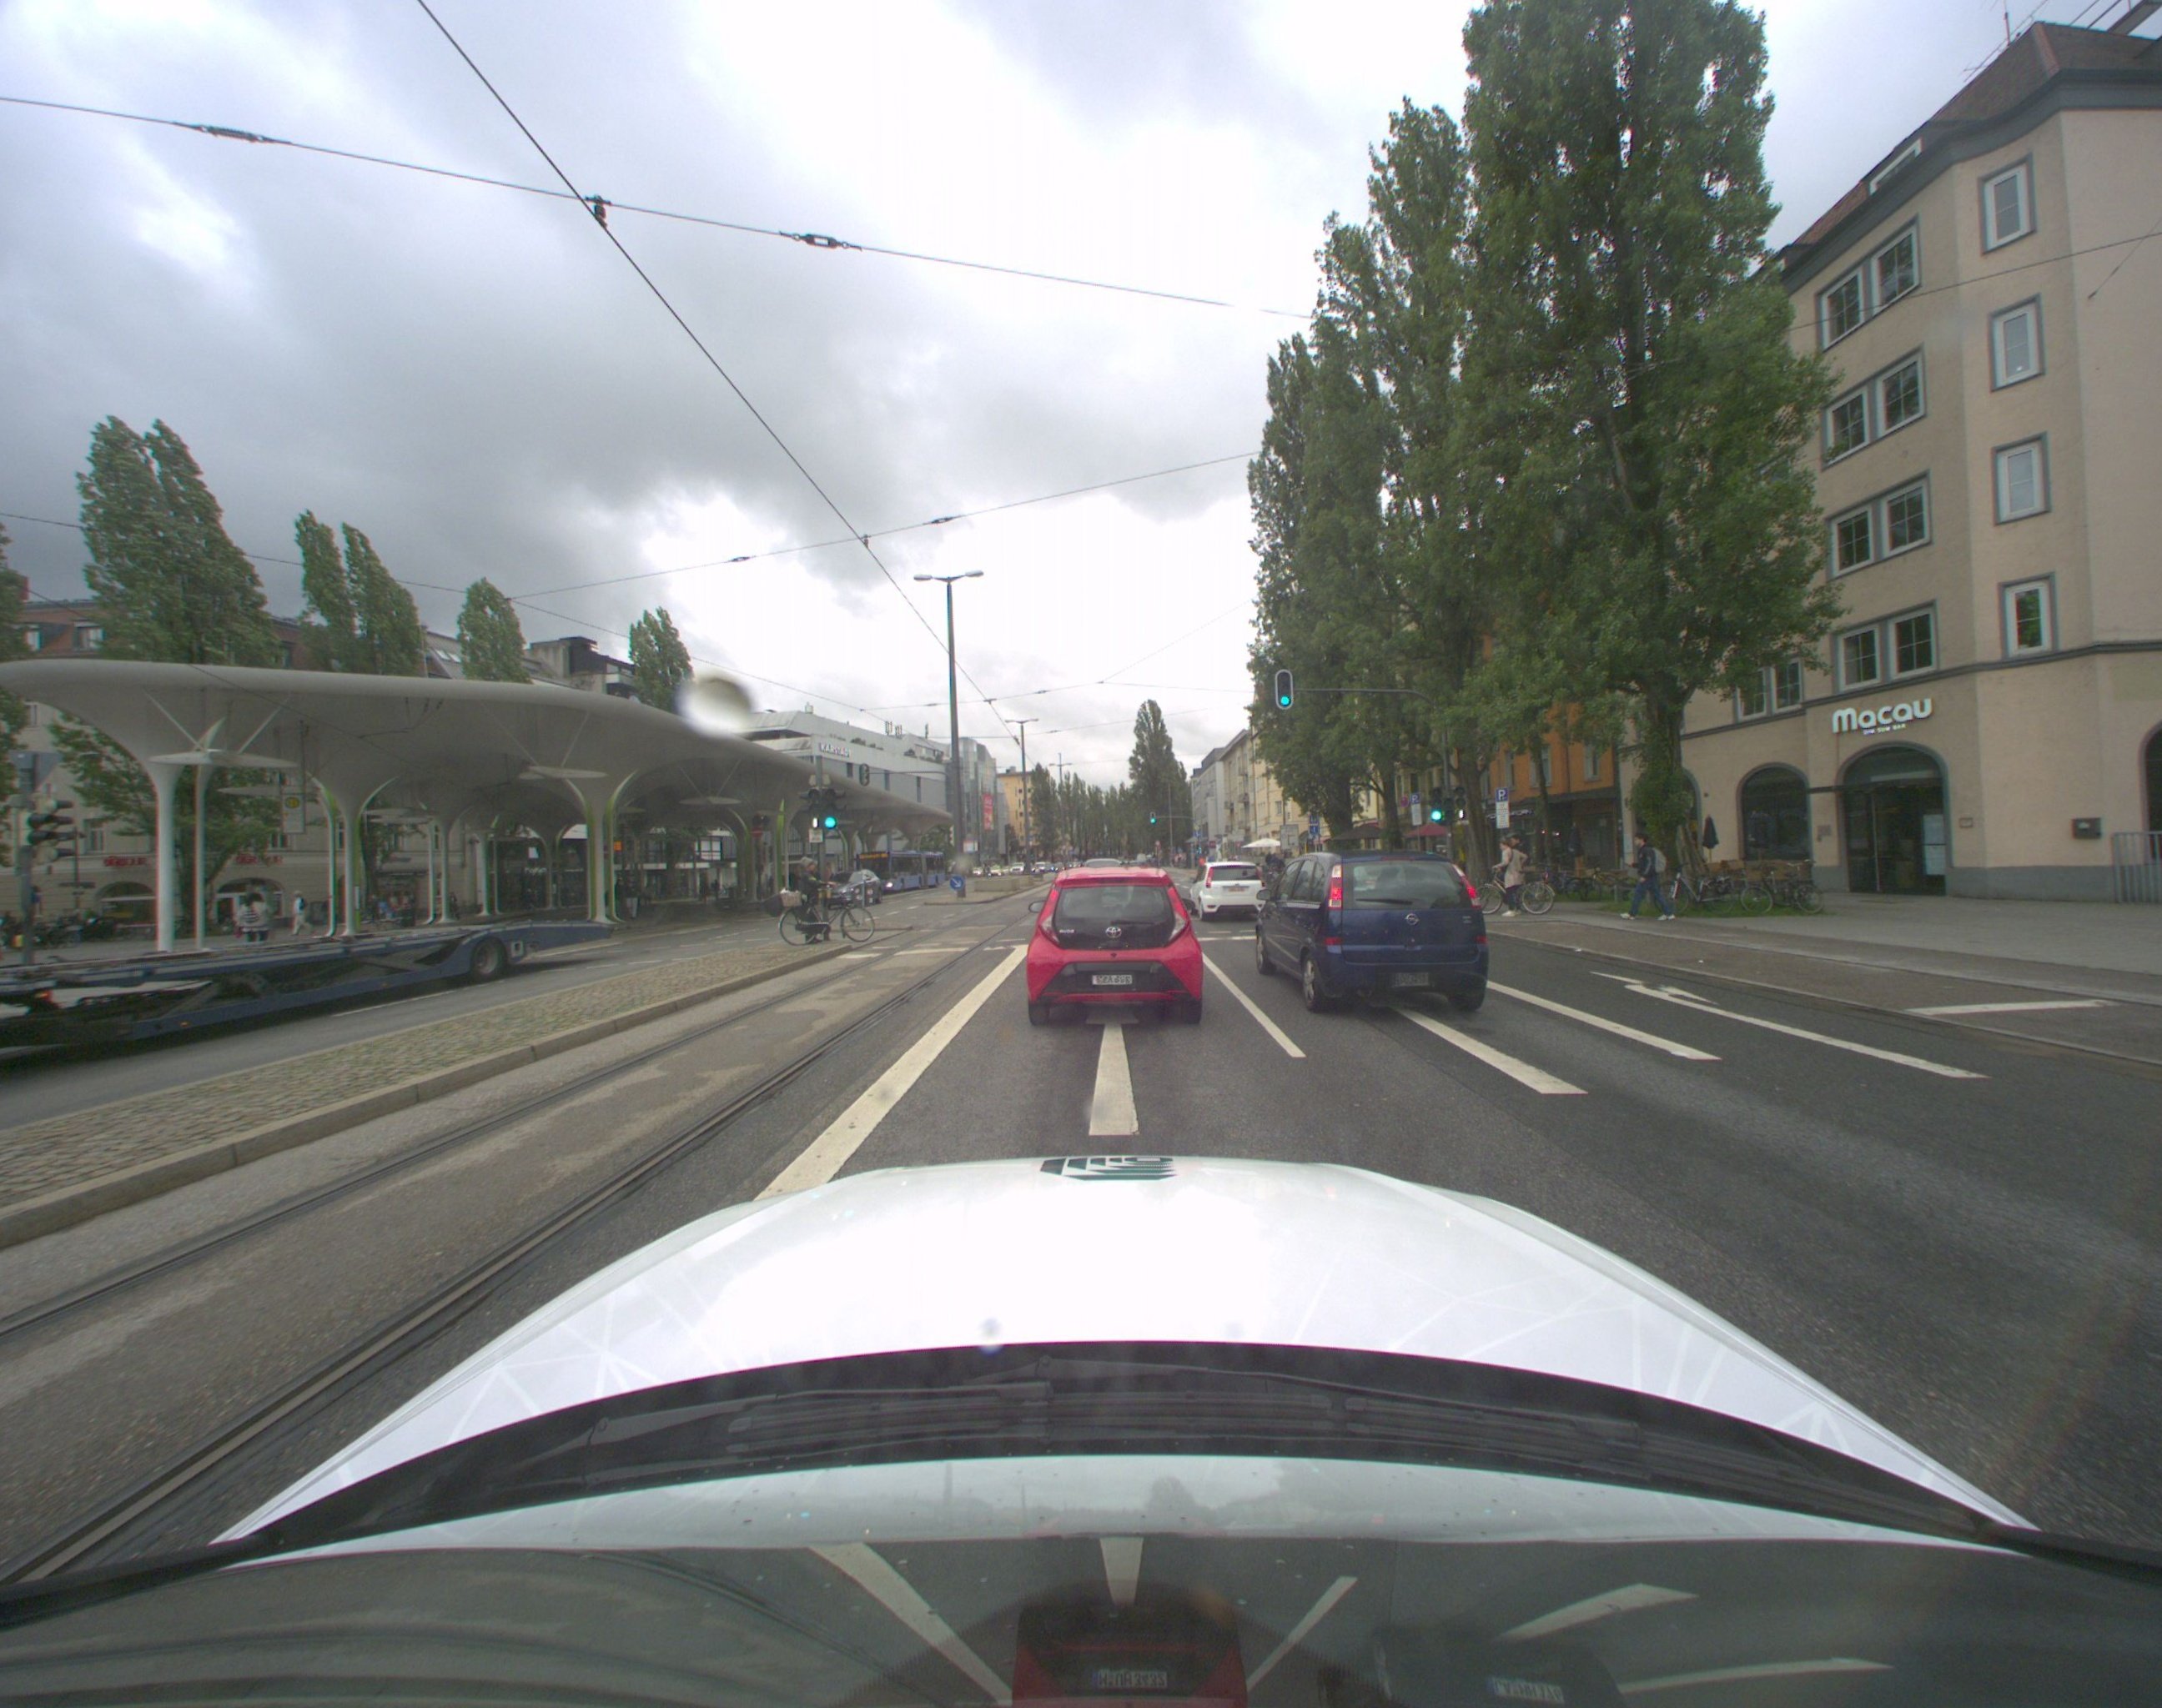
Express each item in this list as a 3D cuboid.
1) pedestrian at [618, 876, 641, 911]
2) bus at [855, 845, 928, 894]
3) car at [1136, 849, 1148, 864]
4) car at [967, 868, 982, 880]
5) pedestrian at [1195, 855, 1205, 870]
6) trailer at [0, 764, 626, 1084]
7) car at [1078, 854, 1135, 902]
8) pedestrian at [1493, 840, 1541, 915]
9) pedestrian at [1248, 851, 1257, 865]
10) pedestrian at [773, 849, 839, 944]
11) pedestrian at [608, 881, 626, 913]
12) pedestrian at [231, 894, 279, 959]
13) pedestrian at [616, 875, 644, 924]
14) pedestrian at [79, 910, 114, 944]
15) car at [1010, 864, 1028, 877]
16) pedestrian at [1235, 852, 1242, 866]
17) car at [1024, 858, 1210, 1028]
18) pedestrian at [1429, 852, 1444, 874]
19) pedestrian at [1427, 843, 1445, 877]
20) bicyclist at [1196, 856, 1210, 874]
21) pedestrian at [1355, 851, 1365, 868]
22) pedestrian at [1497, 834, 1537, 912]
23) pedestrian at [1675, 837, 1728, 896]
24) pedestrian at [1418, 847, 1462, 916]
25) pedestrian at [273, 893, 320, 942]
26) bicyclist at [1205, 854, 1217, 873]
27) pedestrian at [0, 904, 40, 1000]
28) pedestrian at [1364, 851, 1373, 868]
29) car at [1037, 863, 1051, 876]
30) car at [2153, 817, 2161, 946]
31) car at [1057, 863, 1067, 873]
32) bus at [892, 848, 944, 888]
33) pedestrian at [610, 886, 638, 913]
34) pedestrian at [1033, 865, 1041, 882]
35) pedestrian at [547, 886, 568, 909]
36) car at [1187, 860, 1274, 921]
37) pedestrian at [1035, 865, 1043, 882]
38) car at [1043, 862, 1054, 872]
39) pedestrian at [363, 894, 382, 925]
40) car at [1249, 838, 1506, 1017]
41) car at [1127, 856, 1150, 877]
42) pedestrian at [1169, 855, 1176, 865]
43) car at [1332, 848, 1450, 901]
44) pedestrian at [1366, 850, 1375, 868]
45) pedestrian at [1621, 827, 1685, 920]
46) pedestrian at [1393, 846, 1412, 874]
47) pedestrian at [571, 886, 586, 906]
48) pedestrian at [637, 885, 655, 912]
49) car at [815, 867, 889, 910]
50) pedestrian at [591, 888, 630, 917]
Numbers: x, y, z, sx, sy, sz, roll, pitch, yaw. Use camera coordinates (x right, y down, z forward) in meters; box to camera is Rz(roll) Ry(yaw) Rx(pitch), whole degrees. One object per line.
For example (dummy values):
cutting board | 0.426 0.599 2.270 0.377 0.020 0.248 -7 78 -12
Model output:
pedestrian | -23.049 2.025 41.611 0.809 1.728 0.669 -3 -1 -15
bus | -13.618 1.081 59.450 2.652 3.007 10.513 -4 -1 0
car | 11.774 0.480 157.033 2.098 2.718 4.807 -3 0 2
car | -16.152 2.997 123.157 1.994 1.536 4.399 -4 0 -10
pedestrian | 14.572 1.026 99.678 0.826 1.691 0.825 -3 -1 39
trailer | -10.386 0.682 8.392 2.602 2.682 15.634 -4 0 -1
car | 1.006 0.879 31.602 1.986 1.618 4.001 -3 0 2
pedestrian | 9.861 0.510 18.414 0.760 1.638 0.693 -2 0 -42
pedestrian | 21.666 0.482 102.950 0.930 1.755 1.066 -3 -1 2
pedestrian | -5.399 0.823 16.044 0.852 1.812 0.900 -2 -1 13
pedestrian | -22.720 2.106 39.873 0.593 1.545 0.634 -2 -1 -16
pedestrian | -21.794 1.899 21.500 0.738 1.609 0.844 -3 -1 44
pedestrian | -17.346 1.746 31.332 0.800 1.839 0.670 -3 -1 44
pedestrian | -54.902 4.089 45.424 0.952 1.784 0.801 -2 -1 1
car | -9.377 2.467 123.047 2.168 1.887 6.155 -3 0 0
pedestrian | 19.087 0.563 98.614 0.560 1.670 0.565 -2 3 24
car | 0.398 0.784 8.649 1.598 1.461 3.132 -1 0 3
pedestrian | 21.353 0.525 48.921 0.581 1.280 0.583 -2 -1 1
pedestrian | 18.618 0.319 42.750 0.598 1.739 0.666 -3 -1 2
bicyclist | 12.033 1.091 80.484 0.619 1.657 1.236 -2 -1 -39
pedestrian | 21.545 0.410 62.903 0.493 1.289 0.552 -3 -1 2
pedestrian | 10.179 0.428 19.009 0.692 1.780 0.655 -2 0 35
pedestrian | 17.390 0.351 22.845 0.841 1.602 0.826 -3 -1 12
pedestrian | 8.423 0.629 19.150 0.755 1.562 0.765 -2 0 11
pedestrian | -33.675 2.716 34.969 0.993 2.014 1.032 -3 -1 17
bicyclist | 13.280 0.955 83.309 0.762 1.870 1.129 -3 0 -9
pedestrian | -19.010 1.719 14.199 0.739 1.628 0.738 -2 -1 -19
pedestrian | 22.211 0.412 62.934 0.493 1.289 0.552 -3 -1 2
car | -5.607 2.301 124.315 1.780 1.855 4.217 -4 -1 -1
car | 8.278 0.514 3.371 1.726 1.661 4.503 -3 0 1
car | -2.993 2.108 126.577 1.541 1.445 3.536 -4 0 -2
bus | -13.613 1.148 68.473 2.652 3.007 7.511 -4 -1 0
pedestrian | -25.073 2.484 44.682 0.957 1.370 0.843 -3 -1 8
pedestrian | -4.209 1.856 77.176 0.489 1.618 0.552 -2 -1 -33
pedestrian | -41.689 3.442 64.846 0.921 1.773 1.004 -3 -1 21
car | 3.768 0.877 21.053 1.693 1.426 3.498 -1 0 2
pedestrian | -3.950 1.850 76.869 0.466 1.618 0.515 -2 -1 -45
car | -5.484 2.173 137.131 1.672 1.395 4.232 -4 0 0
pedestrian | -42.179 3.300 48.475 0.552 1.814 0.557 -3 -1 13
car | 3.042 0.671 9.134 1.696 1.589 3.558 -1 0 2
car | 5.519 1.189 78.654 1.986 1.838 4.002 -2 0 2
pedestrian | 13.882 0.928 123.587 0.812 1.522 0.794 -3 -1 -23
car | 9.739 0.624 26.043 1.987 1.440 4.528 -3 0 0
pedestrian | 22.061 0.403 62.044 0.493 1.332 0.552 -3 -1 2
pedestrian | 11.496 0.375 16.399 0.872 1.801 0.760 0 0 18
pedestrian | 19.033 0.359 48.220 0.707 1.633 0.787 -3 -1 2
pedestrian | -44.801 3.759 72.645 0.775 1.661 0.776 -3 -1 11
pedestrian | -26.905 2.726 50.360 0.643 1.618 0.701 -3 -1 6
car | -10.423 1.525 37.428 1.856 1.638 4.678 -4 -1 1
pedestrian | -21.216 2.186 36.749 0.803 1.230 1.277 -3 -1 20
